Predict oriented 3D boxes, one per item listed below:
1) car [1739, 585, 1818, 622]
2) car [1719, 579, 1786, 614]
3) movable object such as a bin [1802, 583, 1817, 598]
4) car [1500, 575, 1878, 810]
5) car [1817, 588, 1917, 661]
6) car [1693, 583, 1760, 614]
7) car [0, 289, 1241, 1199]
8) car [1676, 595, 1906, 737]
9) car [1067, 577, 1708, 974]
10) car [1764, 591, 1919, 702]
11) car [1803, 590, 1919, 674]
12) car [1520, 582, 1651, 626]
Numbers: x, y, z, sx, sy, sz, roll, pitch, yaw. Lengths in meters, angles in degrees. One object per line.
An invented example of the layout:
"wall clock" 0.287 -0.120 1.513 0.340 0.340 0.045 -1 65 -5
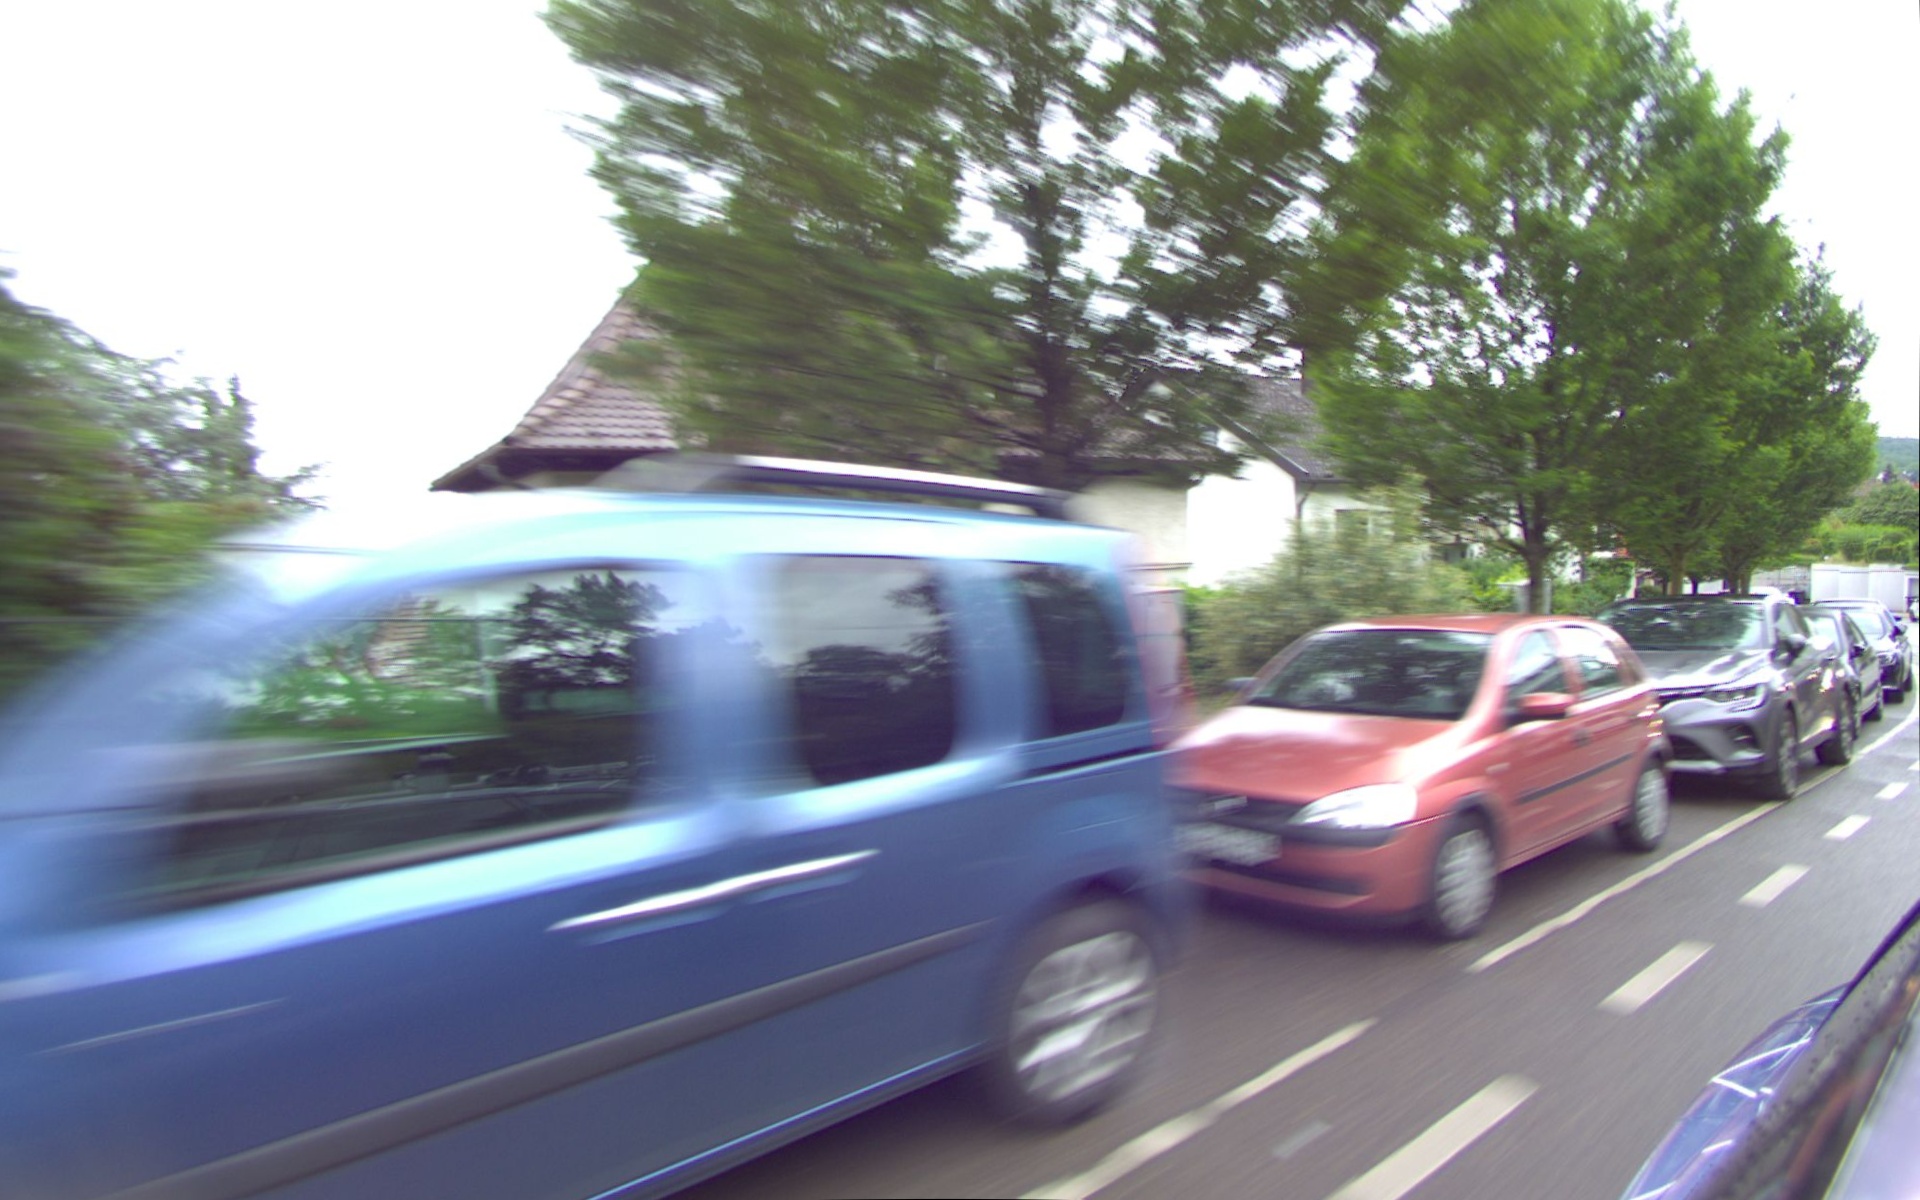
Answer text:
"car" 37.250 0.111 46.177 1.851 1.488 5.005 -4 -1 29
"car" 40.027 -0.210 51.205 2.044 1.677 5.177 -1 0 32
"movable object such as a bin" 59.393 -0.654 70.764 0.589 1.005 0.610 -2 -1 -30
"car" 6.459 0.631 8.794 4.091 1.576 1.716 -1 -2 -41
"car" 21.373 0.545 23.925 1.625 1.582 2.978 -2 0 41
"car" 42.644 -0.118 56.428 1.840 1.601 4.819 -1 0 24
"car" -1.320 0.516 2.566 4.347 1.876 1.781 0 -1 -40
"car" 10.498 0.714 12.674 4.216 1.442 1.644 -1 -2 -43
"car" 2.603 0.654 5.729 3.947 1.500 1.652 -1 -1 -39
"car" 14.923 0.680 16.880 4.651 1.573 1.776 -1 -1 -44
"car" 18.733 0.610 21.049 1.653 1.539 3.940 -2 -1 42
"car" 25.706 0.175 41.678 4.296 1.483 1.908 -4 1 41
